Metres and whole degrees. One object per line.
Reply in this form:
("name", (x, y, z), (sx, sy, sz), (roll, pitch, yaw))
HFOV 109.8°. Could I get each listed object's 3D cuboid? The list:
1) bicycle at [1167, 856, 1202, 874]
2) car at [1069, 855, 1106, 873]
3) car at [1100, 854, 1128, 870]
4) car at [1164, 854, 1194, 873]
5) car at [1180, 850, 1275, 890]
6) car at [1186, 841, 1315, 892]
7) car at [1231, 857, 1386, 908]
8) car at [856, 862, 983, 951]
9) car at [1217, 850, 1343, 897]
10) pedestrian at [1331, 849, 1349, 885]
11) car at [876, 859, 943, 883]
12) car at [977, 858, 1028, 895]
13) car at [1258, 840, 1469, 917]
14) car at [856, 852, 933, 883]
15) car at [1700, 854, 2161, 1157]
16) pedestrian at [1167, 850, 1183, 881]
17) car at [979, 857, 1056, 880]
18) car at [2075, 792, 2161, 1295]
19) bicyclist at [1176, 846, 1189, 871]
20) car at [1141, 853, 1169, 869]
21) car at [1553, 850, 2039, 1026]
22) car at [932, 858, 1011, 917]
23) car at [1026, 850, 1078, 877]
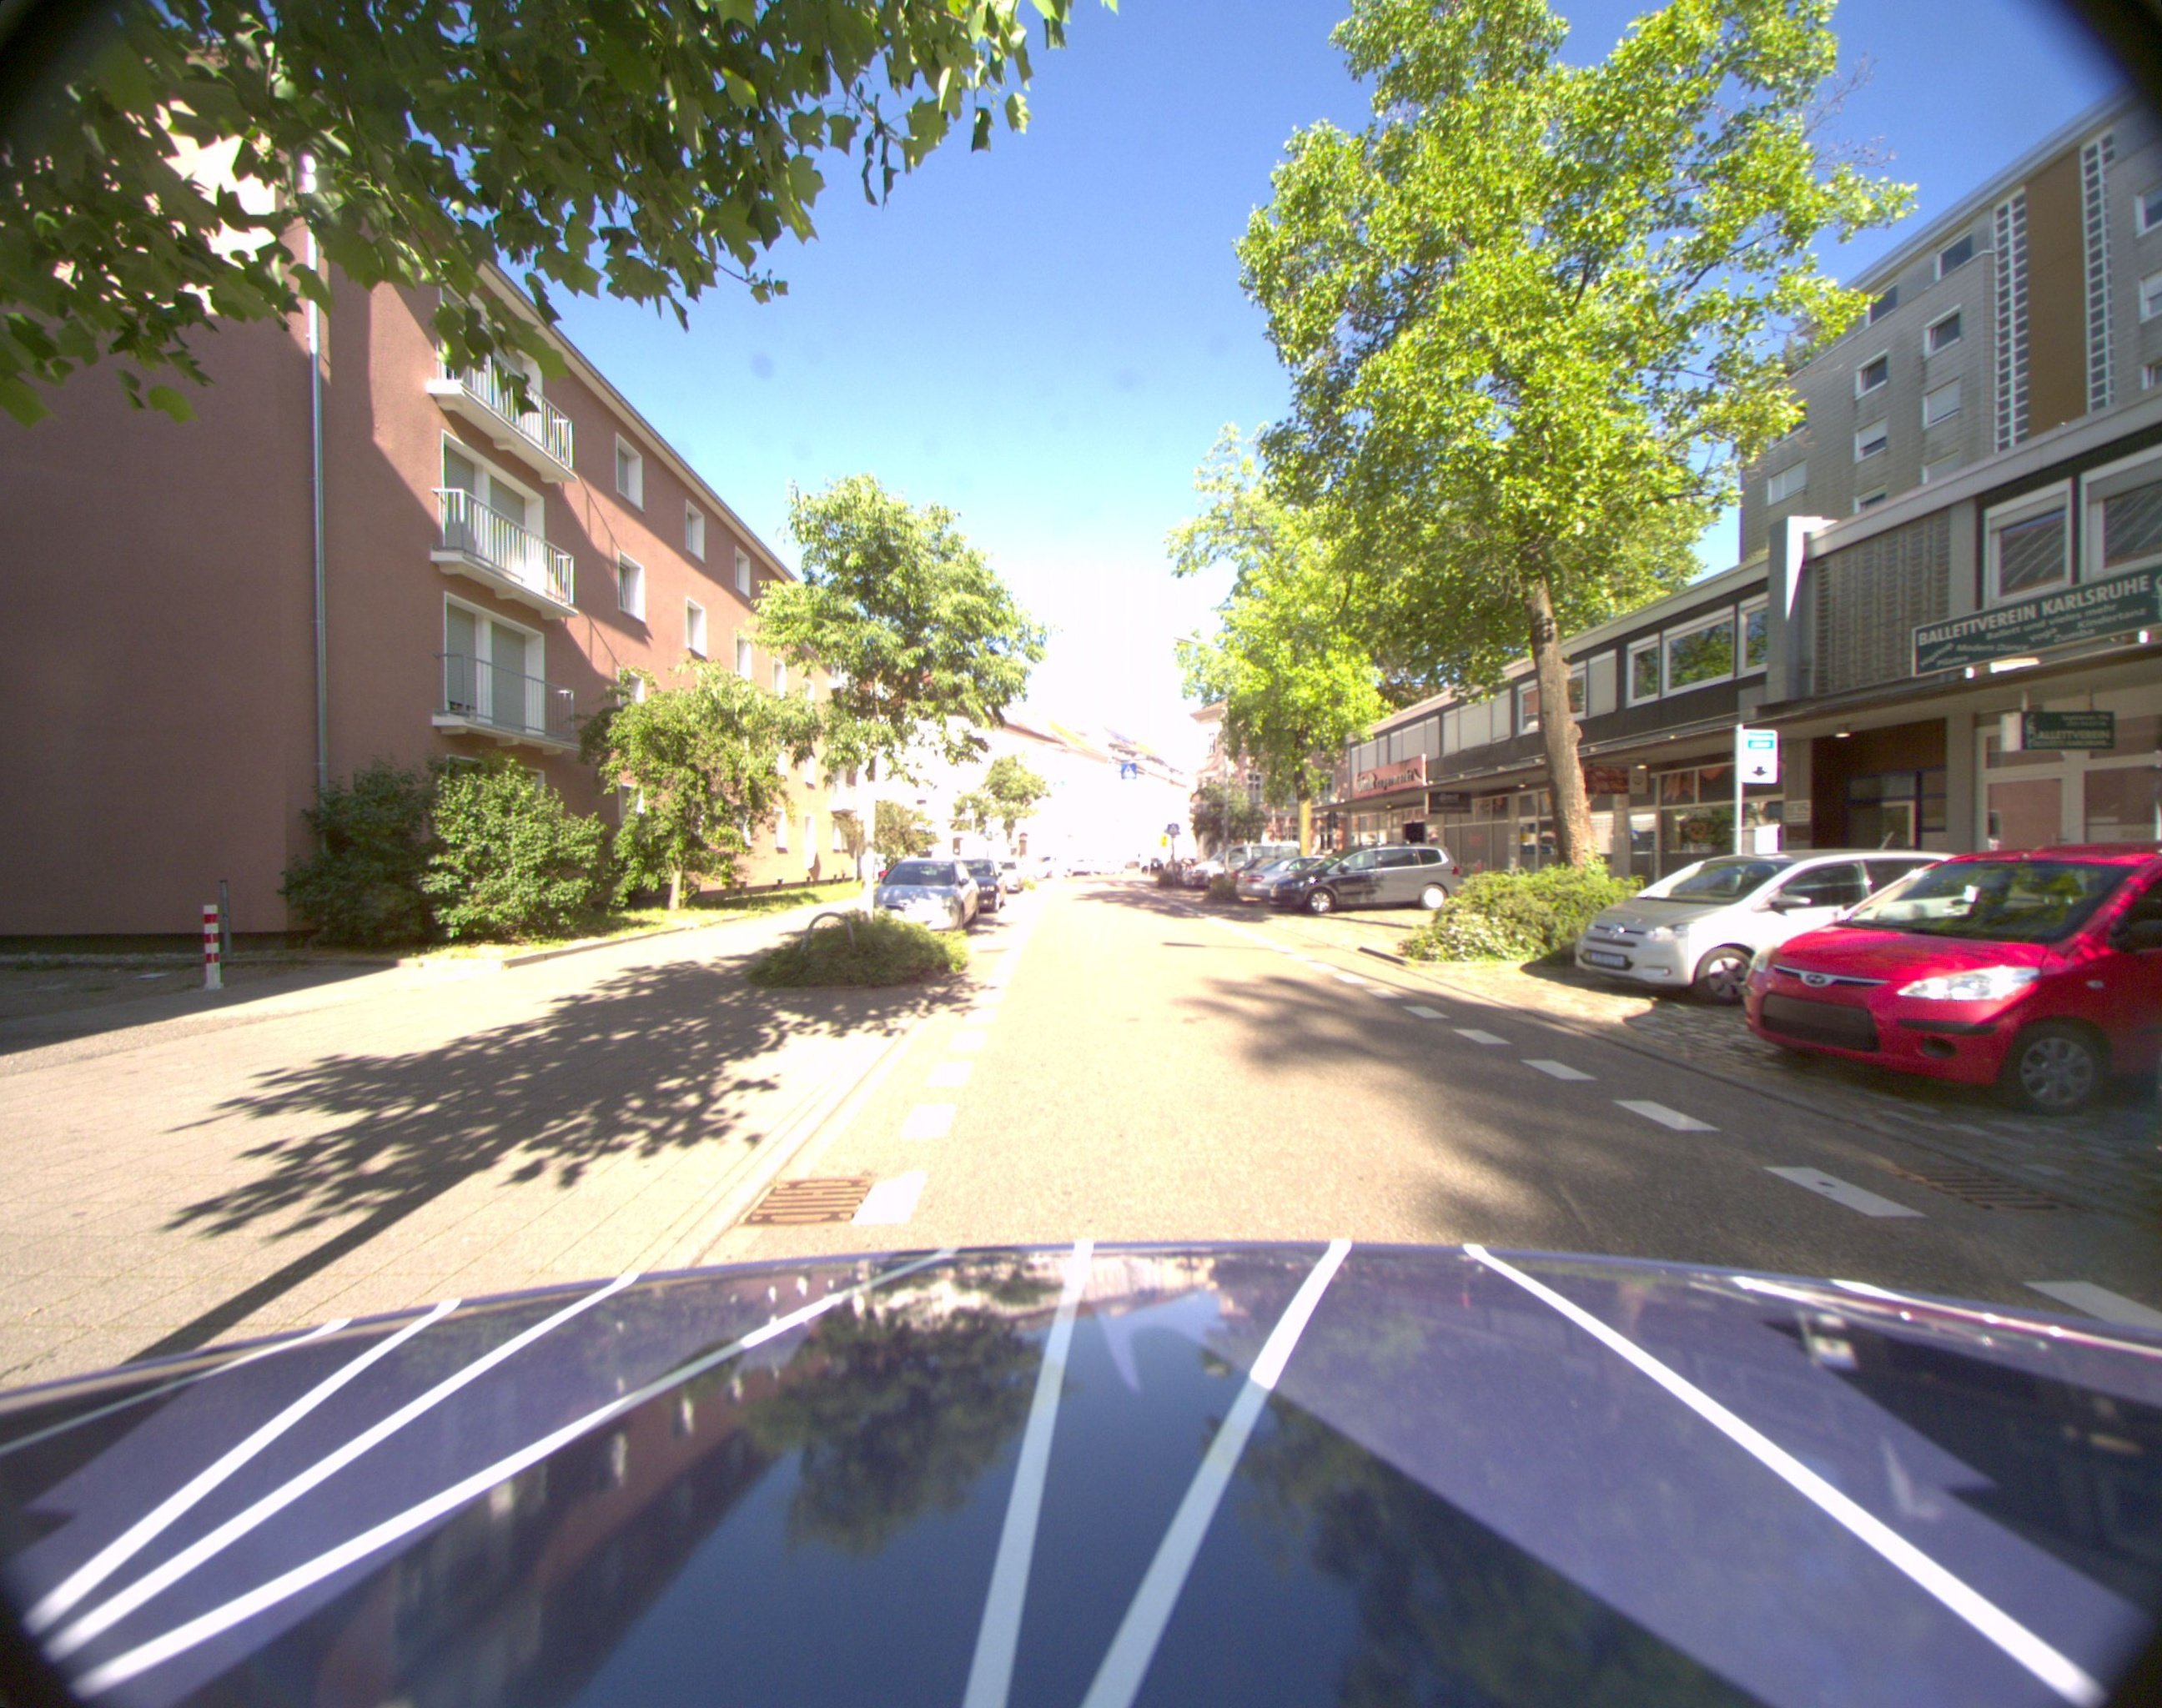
("bicycle", (7.053, 0.745, 51.586), (2.287, 1.179, 0.876), (-1, 1, 13))
("car", (0.624, 0.888, 66.129), (2.130, 1.487, 3.951), (0, 0, 18))
("car", (3.193, 0.730, 72.274), (1.632, 1.412, 3.299), (0, 0, 22))
("car", (8.898, 0.835, 68.619), (1.670, 1.628, 4.054), (0, 0, 23))
("car", (6.650, 0.715, 34.798), (3.998, 1.781, 1.757), (0, 0, -2))
("car", (7.116, 0.527, 32.232), (4.996, 1.958, 1.909), (-2, 0, -3))
("car", (6.626, 0.809, 22.383), (3.998, 1.390, 1.759), (0, 0, -3))
("car", (-3.064, 0.933, 15.198), (1.720, 1.445, 3.999), (0, 1, -1))
("car", (7.144, 0.686, 27.500), (3.998, 1.413, 1.736), (-4, 0, -3))
("pedestrian", (11.328, 0.567, 33.195), (0.529, 1.547, 0.663), (-2, 1, -1))
("car", (-10.278, 0.999, 45.748), (3.648, 1.394, 1.568), (0, 0, -1))
("car", (-3.230, 0.907, 31.987), (1.736, 1.420, 4.000), (0, 0, 0))
("car", (7.261, 0.613, 19.837), (4.781, 1.767, 1.874), (-2, 0, -1))
("car", (-12.444, 0.887, 51.072), (4.757, 2.002, 1.999), (0, 0, -6))
("car", (6.573, 0.830, 5.060), (3.567, 1.545, 1.661), (-2, 0, -2))
("pedestrian", (4.897, 0.594, 39.496), (0.727, 1.630, 0.807), (0, 1, -2))
("car", (-4.104, 0.904, 48.801), (4.806, 1.417, 1.998), (0, 0, -10))
("car", (6.645, 0.645, 2.248), (5.043, 1.927, 1.873), (-2, 0, -1))
("bicyclist", (6.910, 0.296, 51.614), (0.817, 1.663, 0.848), (0, 1, 12))
("car", (7.548, 0.736, 77.532), (1.608, 1.444, 3.302), (4, 0, 27))
("car", (7.336, 0.795, 8.069), (3.595, 1.552, 1.672), (-2, 0, -1))
("car", (-2.976, 0.868, 21.481), (1.662, 1.473, 4.311), (0, 0, -1))
("car", (-2.159, 0.688, 57.934), (1.908, 1.924, 4.817), (0, 0, 25))
